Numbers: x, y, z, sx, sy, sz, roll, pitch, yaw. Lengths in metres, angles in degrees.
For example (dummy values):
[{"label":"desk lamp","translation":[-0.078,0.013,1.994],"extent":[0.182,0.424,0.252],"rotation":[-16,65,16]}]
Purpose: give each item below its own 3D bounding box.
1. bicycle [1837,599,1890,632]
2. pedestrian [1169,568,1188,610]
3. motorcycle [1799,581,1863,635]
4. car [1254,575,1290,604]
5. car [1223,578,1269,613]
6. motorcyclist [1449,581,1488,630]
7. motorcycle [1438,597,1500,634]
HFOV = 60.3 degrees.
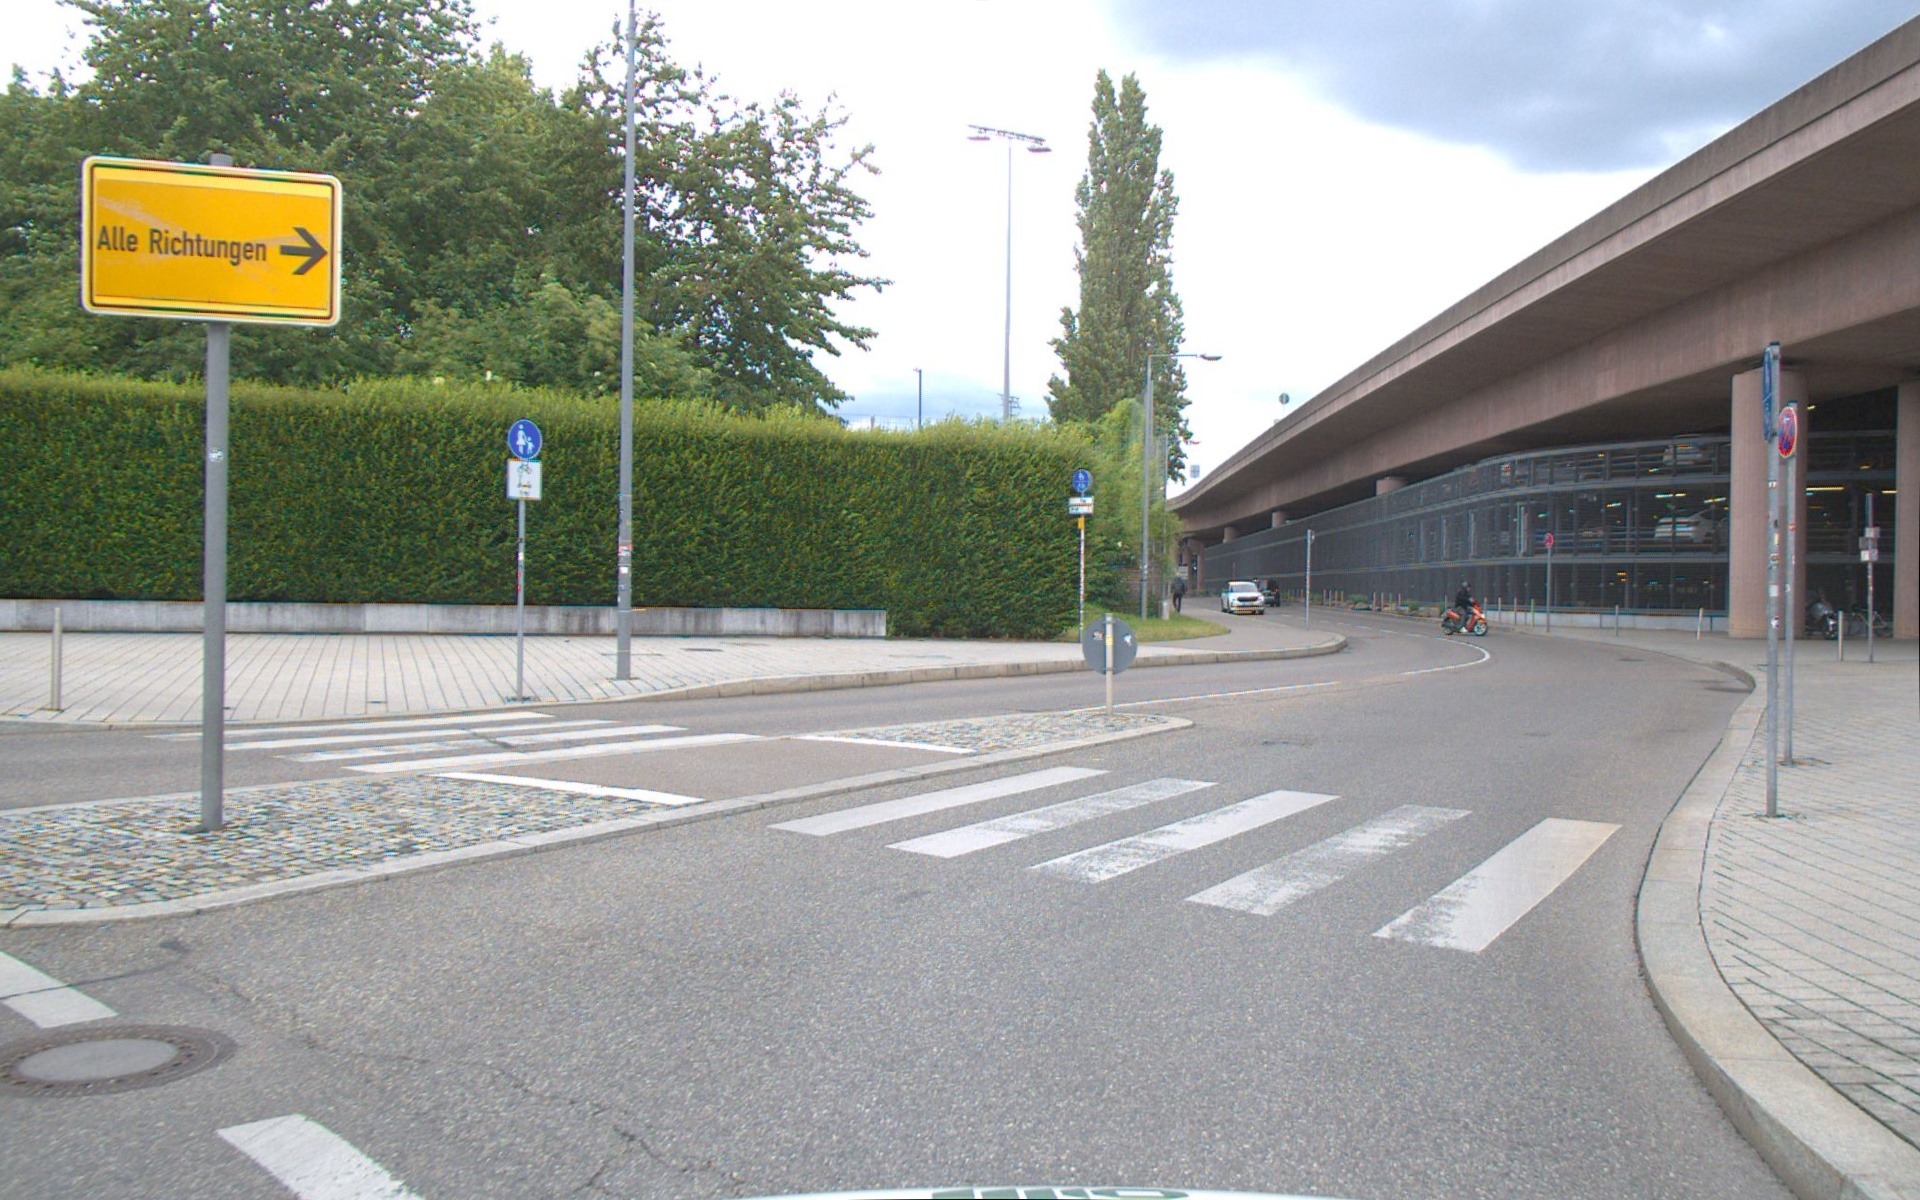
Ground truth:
[{"label":"bicycle","translation":[28.438,0.479,52.055],"extent":[1.445,0.993,0.451],"rotation":[1,2,30]},{"label":"pedestrian","translation":[9.759,-0.496,73.897],"extent":[0.786,1.812,0.921],"rotation":[0,2,7]},{"label":"motorcycle","translation":[24.792,0.210,47.107],"extent":[0.630,1.480,1.758],"rotation":[0,2,-11]},{"label":"car","translation":[19.760,-0.698,104.798],"extent":[1.801,1.741,3.708],"rotation":[0,2,4]},{"label":"car","translation":[14.822,-0.256,85.883],"extent":[1.825,1.712,4.407],"rotation":[0,2,2]},{"label":"motorcyclist","translation":[15.630,0.162,50.855],"extent":[0.752,1.444,0.863],"rotation":[-1,2,-24]},{"label":"motorcycle","translation":[15.624,0.457,50.857],"extent":[0.736,1.040,1.942],"rotation":[-1,2,-24]}]
